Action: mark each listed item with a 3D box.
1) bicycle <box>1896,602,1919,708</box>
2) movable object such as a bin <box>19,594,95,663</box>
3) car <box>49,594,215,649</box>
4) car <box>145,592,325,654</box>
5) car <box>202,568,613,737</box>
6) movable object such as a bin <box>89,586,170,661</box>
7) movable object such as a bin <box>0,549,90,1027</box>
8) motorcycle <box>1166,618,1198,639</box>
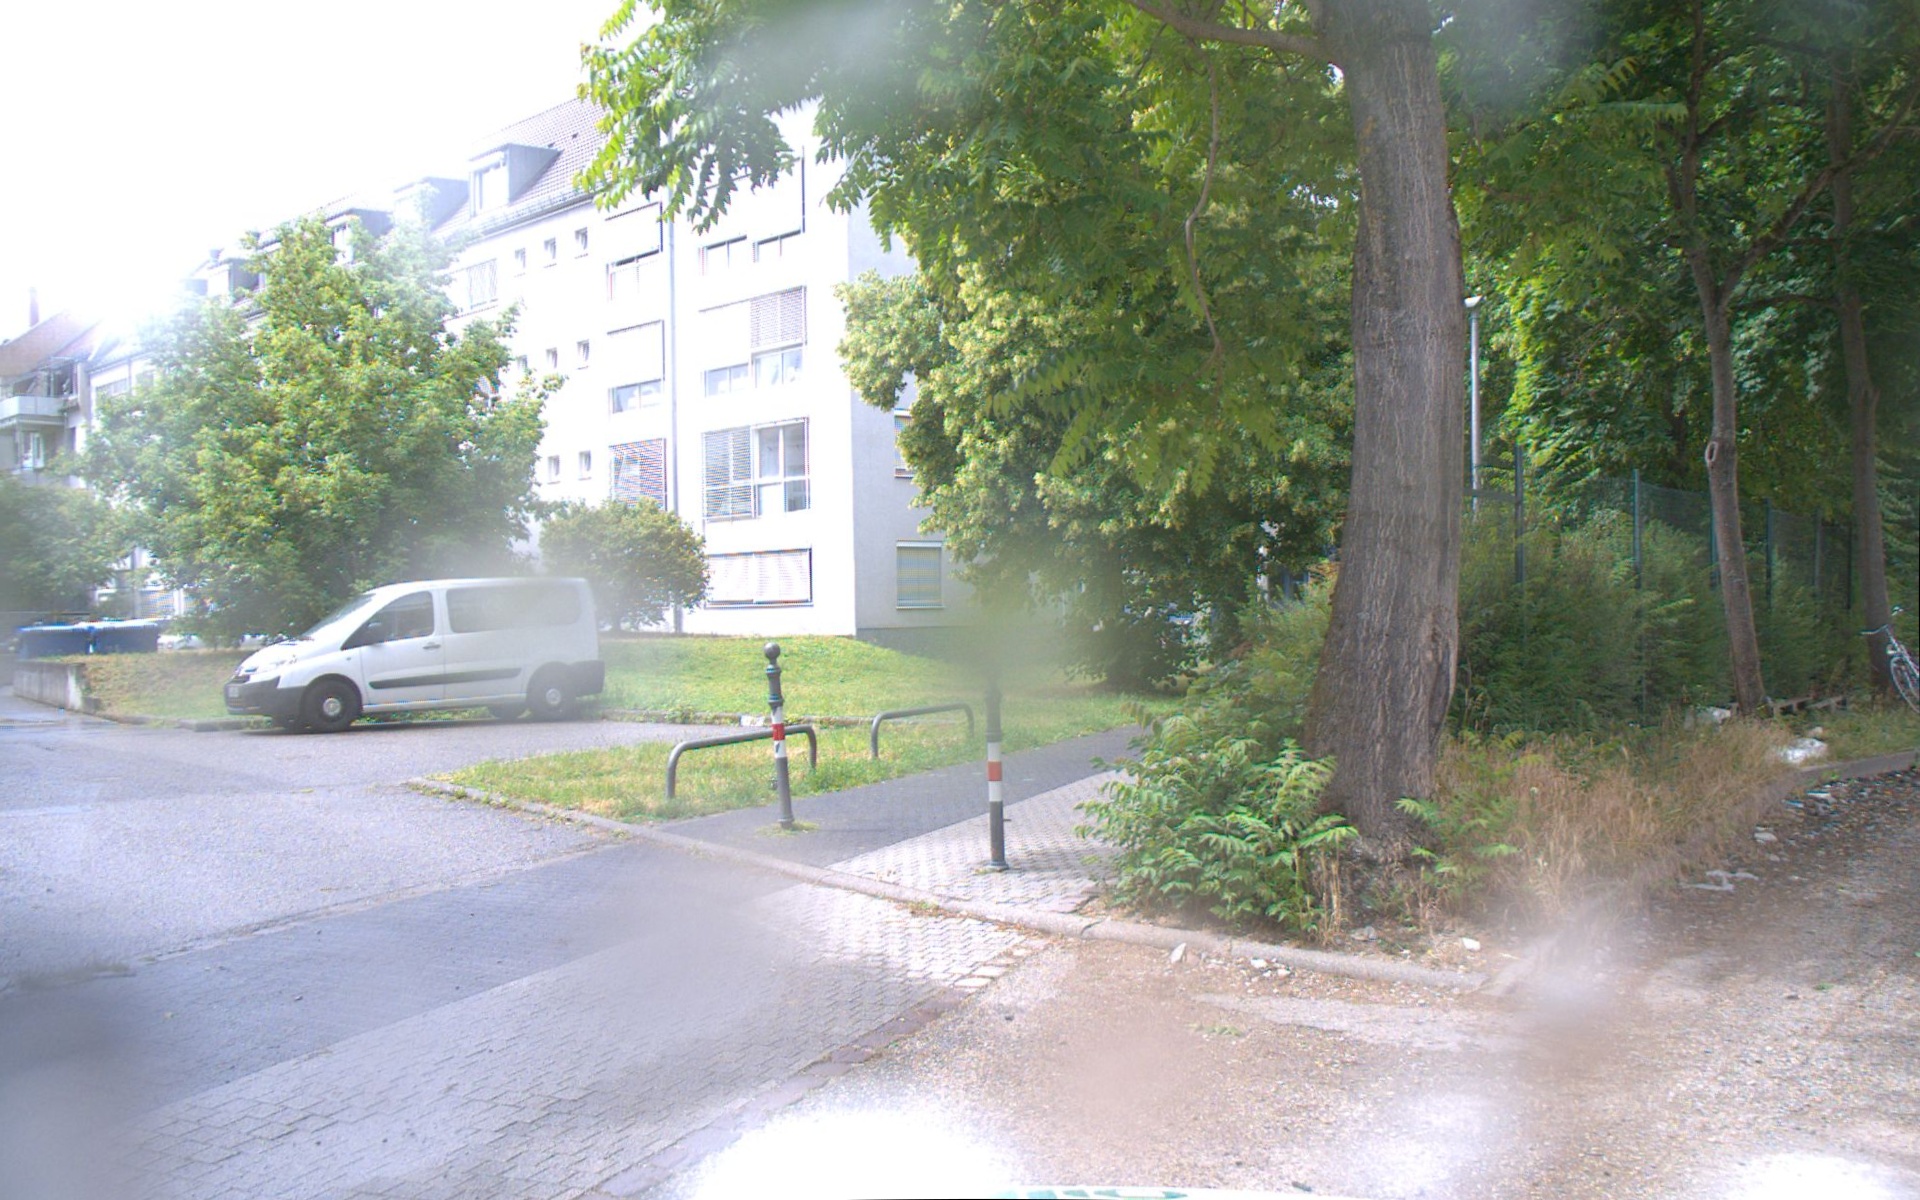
[{"bbox_3d":[8.828,0.482,15.083,0.458,0.894,1.568,0,1,28],"label":"bicycle"},{"bbox_3d":[-18.078,0.569,33.114,1.167,1.340,1.040,1,-1,-40],"label":"movable object such as a bin"},{"bbox_3d":[-24.725,0.633,49.444,4.080,1.480,1.803,-2,0,-44],"label":"car"},{"bbox_3d":[-18.950,0.594,43.291,3.964,1.378,1.765,-4,1,-40],"label":"car"},{"bbox_3d":[-7.354,0.639,22.251,4.899,2.049,1.974,0,-1,-37],"label":"car"},{"bbox_3d":[-17.021,0.483,33.915,1.267,1.509,1.086,1,-1,-40],"label":"movable object such as a bin"},{"bbox_3d":[-3.840,0.585,5.488,1.400,1.496,1.538,1,-1,-40],"label":"movable object such as a bin"},{"bbox_3d":[8.122,1.044,60.533,1.431,0.784,0.325,1,-1,-41],"label":"motorcycle"}]
